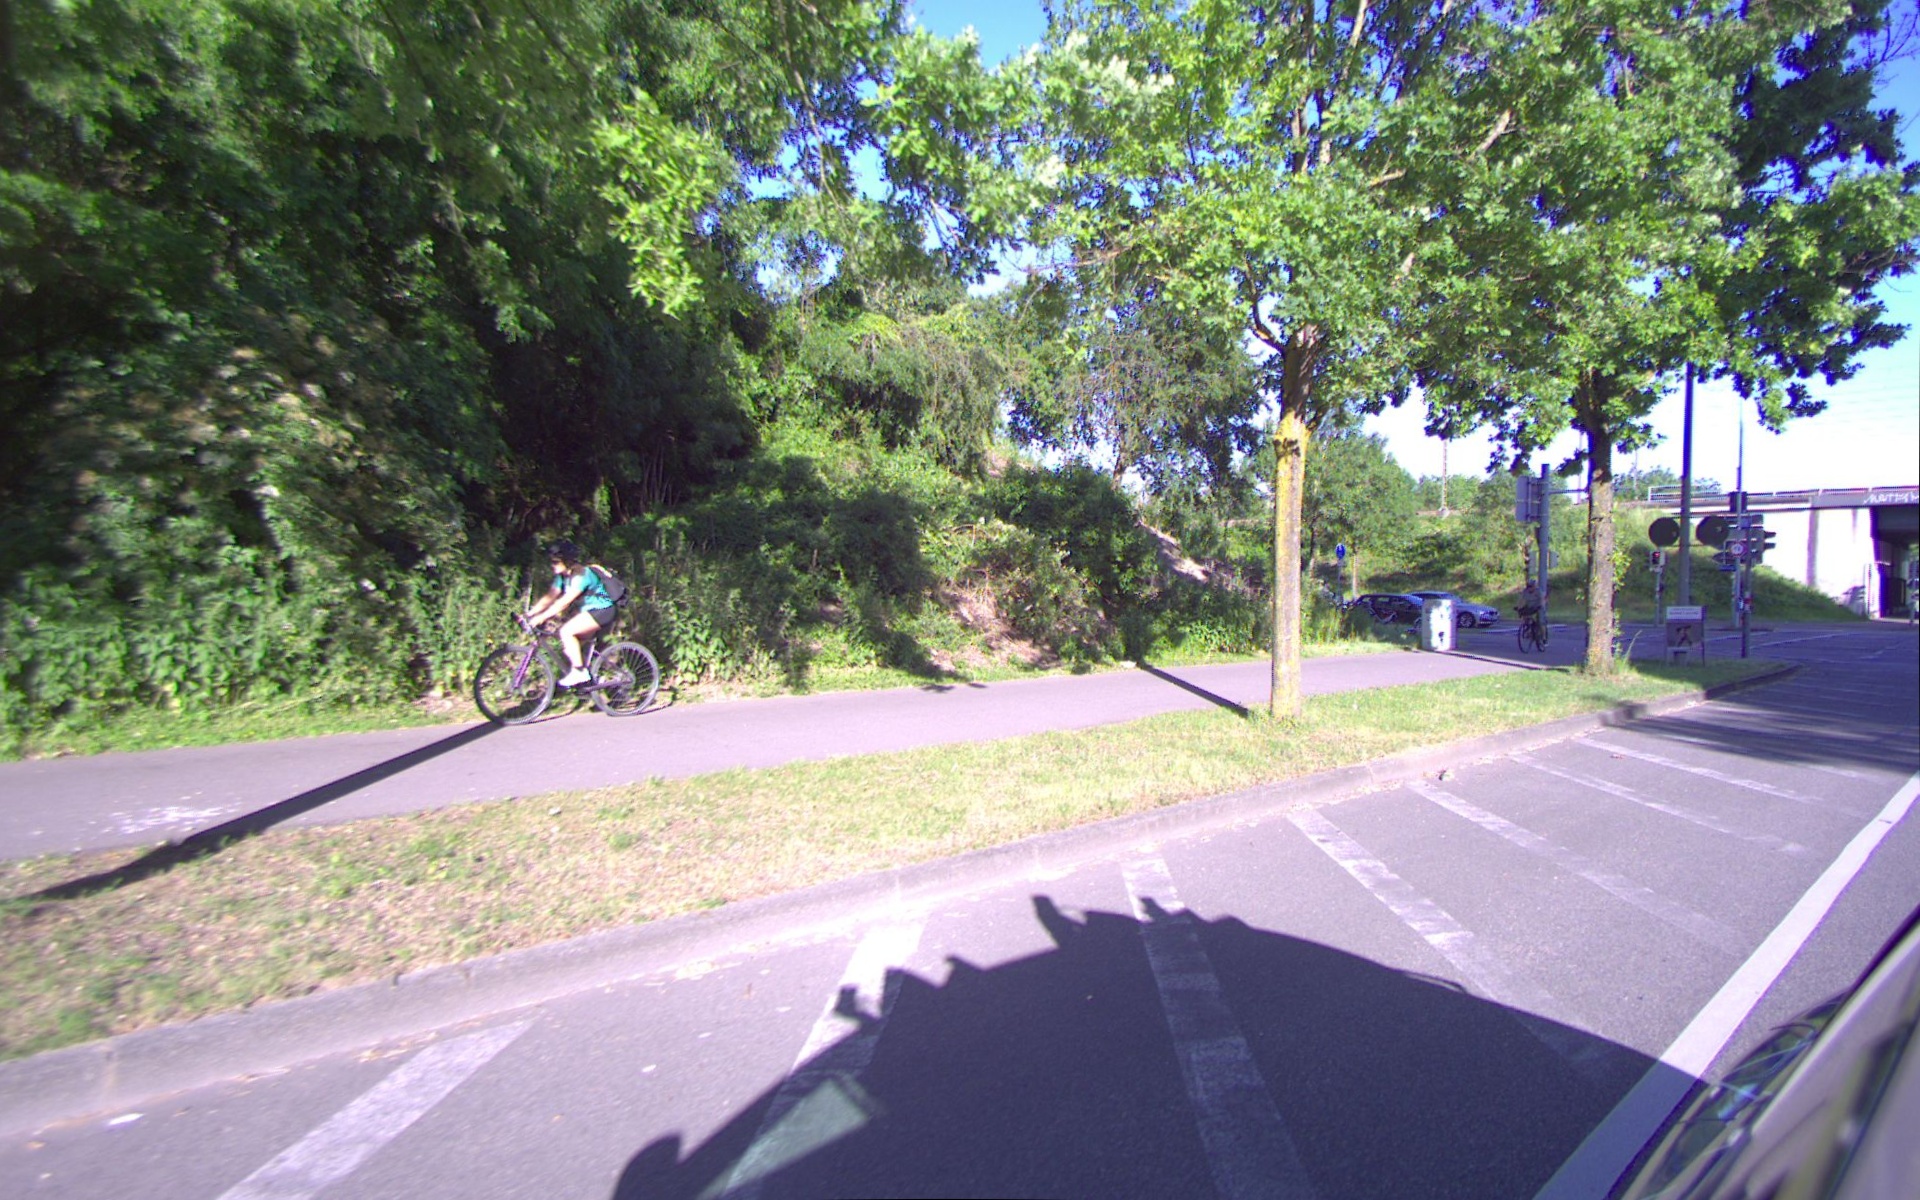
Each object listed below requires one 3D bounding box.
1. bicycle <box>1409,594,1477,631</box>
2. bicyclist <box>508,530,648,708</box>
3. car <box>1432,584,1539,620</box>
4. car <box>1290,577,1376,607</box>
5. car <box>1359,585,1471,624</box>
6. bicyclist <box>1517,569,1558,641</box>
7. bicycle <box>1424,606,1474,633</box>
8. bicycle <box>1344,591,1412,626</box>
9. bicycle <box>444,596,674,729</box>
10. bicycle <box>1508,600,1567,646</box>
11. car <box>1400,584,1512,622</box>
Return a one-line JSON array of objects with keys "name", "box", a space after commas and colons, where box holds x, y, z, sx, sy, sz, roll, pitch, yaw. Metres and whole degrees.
[{"name": "bicycle", "box": [14.918, 0.362, 31.321, 0.445, 1.066, 1.999, 0, 1, -28]}, {"name": "bicyclist", "box": [-3.529, 0.153, 9.358, 1.019, 1.541, 0.685, 0, 1, -44]}, {"name": "car", "box": [24.019, 0.049, 46.372, 1.783, 1.450, 3.999, -2, 3, -36]}, {"name": "car", "box": [19.388, -0.439, 52.671, 1.561, 1.450, 3.998, -2, 3, -37]}, {"name": "car", "box": [19.262, 0.153, 42.996, 1.772, 1.493, 3.999, -2, 3, -36]}, {"name": "bicyclist", "box": [13.295, 0.106, 23.298, 0.850, 1.630, 0.566, 0, 1, -42]}, {"name": "bicycle", "box": [13.905, 0.543, 28.844, 0.830, 0.629, 2.186, 3, 2, 14]}, {"name": "bicycle", "box": [14.523, 0.281, 35.228, 0.685, 1.119, 2.267, 3, 0, -26]}, {"name": "bicycle", "box": [-3.612, 0.513, 9.259, 1.904, 1.086, 0.516, 0, 2, -45]}, {"name": "bicycle", "box": [13.330, 0.514, 23.343, 2.011, 1.004, 0.572, 0, 1, -42]}, {"name": "car", "box": [21.556, 0.079, 44.114, 1.782, 1.493, 4.000, -2, 3, -35]}]
